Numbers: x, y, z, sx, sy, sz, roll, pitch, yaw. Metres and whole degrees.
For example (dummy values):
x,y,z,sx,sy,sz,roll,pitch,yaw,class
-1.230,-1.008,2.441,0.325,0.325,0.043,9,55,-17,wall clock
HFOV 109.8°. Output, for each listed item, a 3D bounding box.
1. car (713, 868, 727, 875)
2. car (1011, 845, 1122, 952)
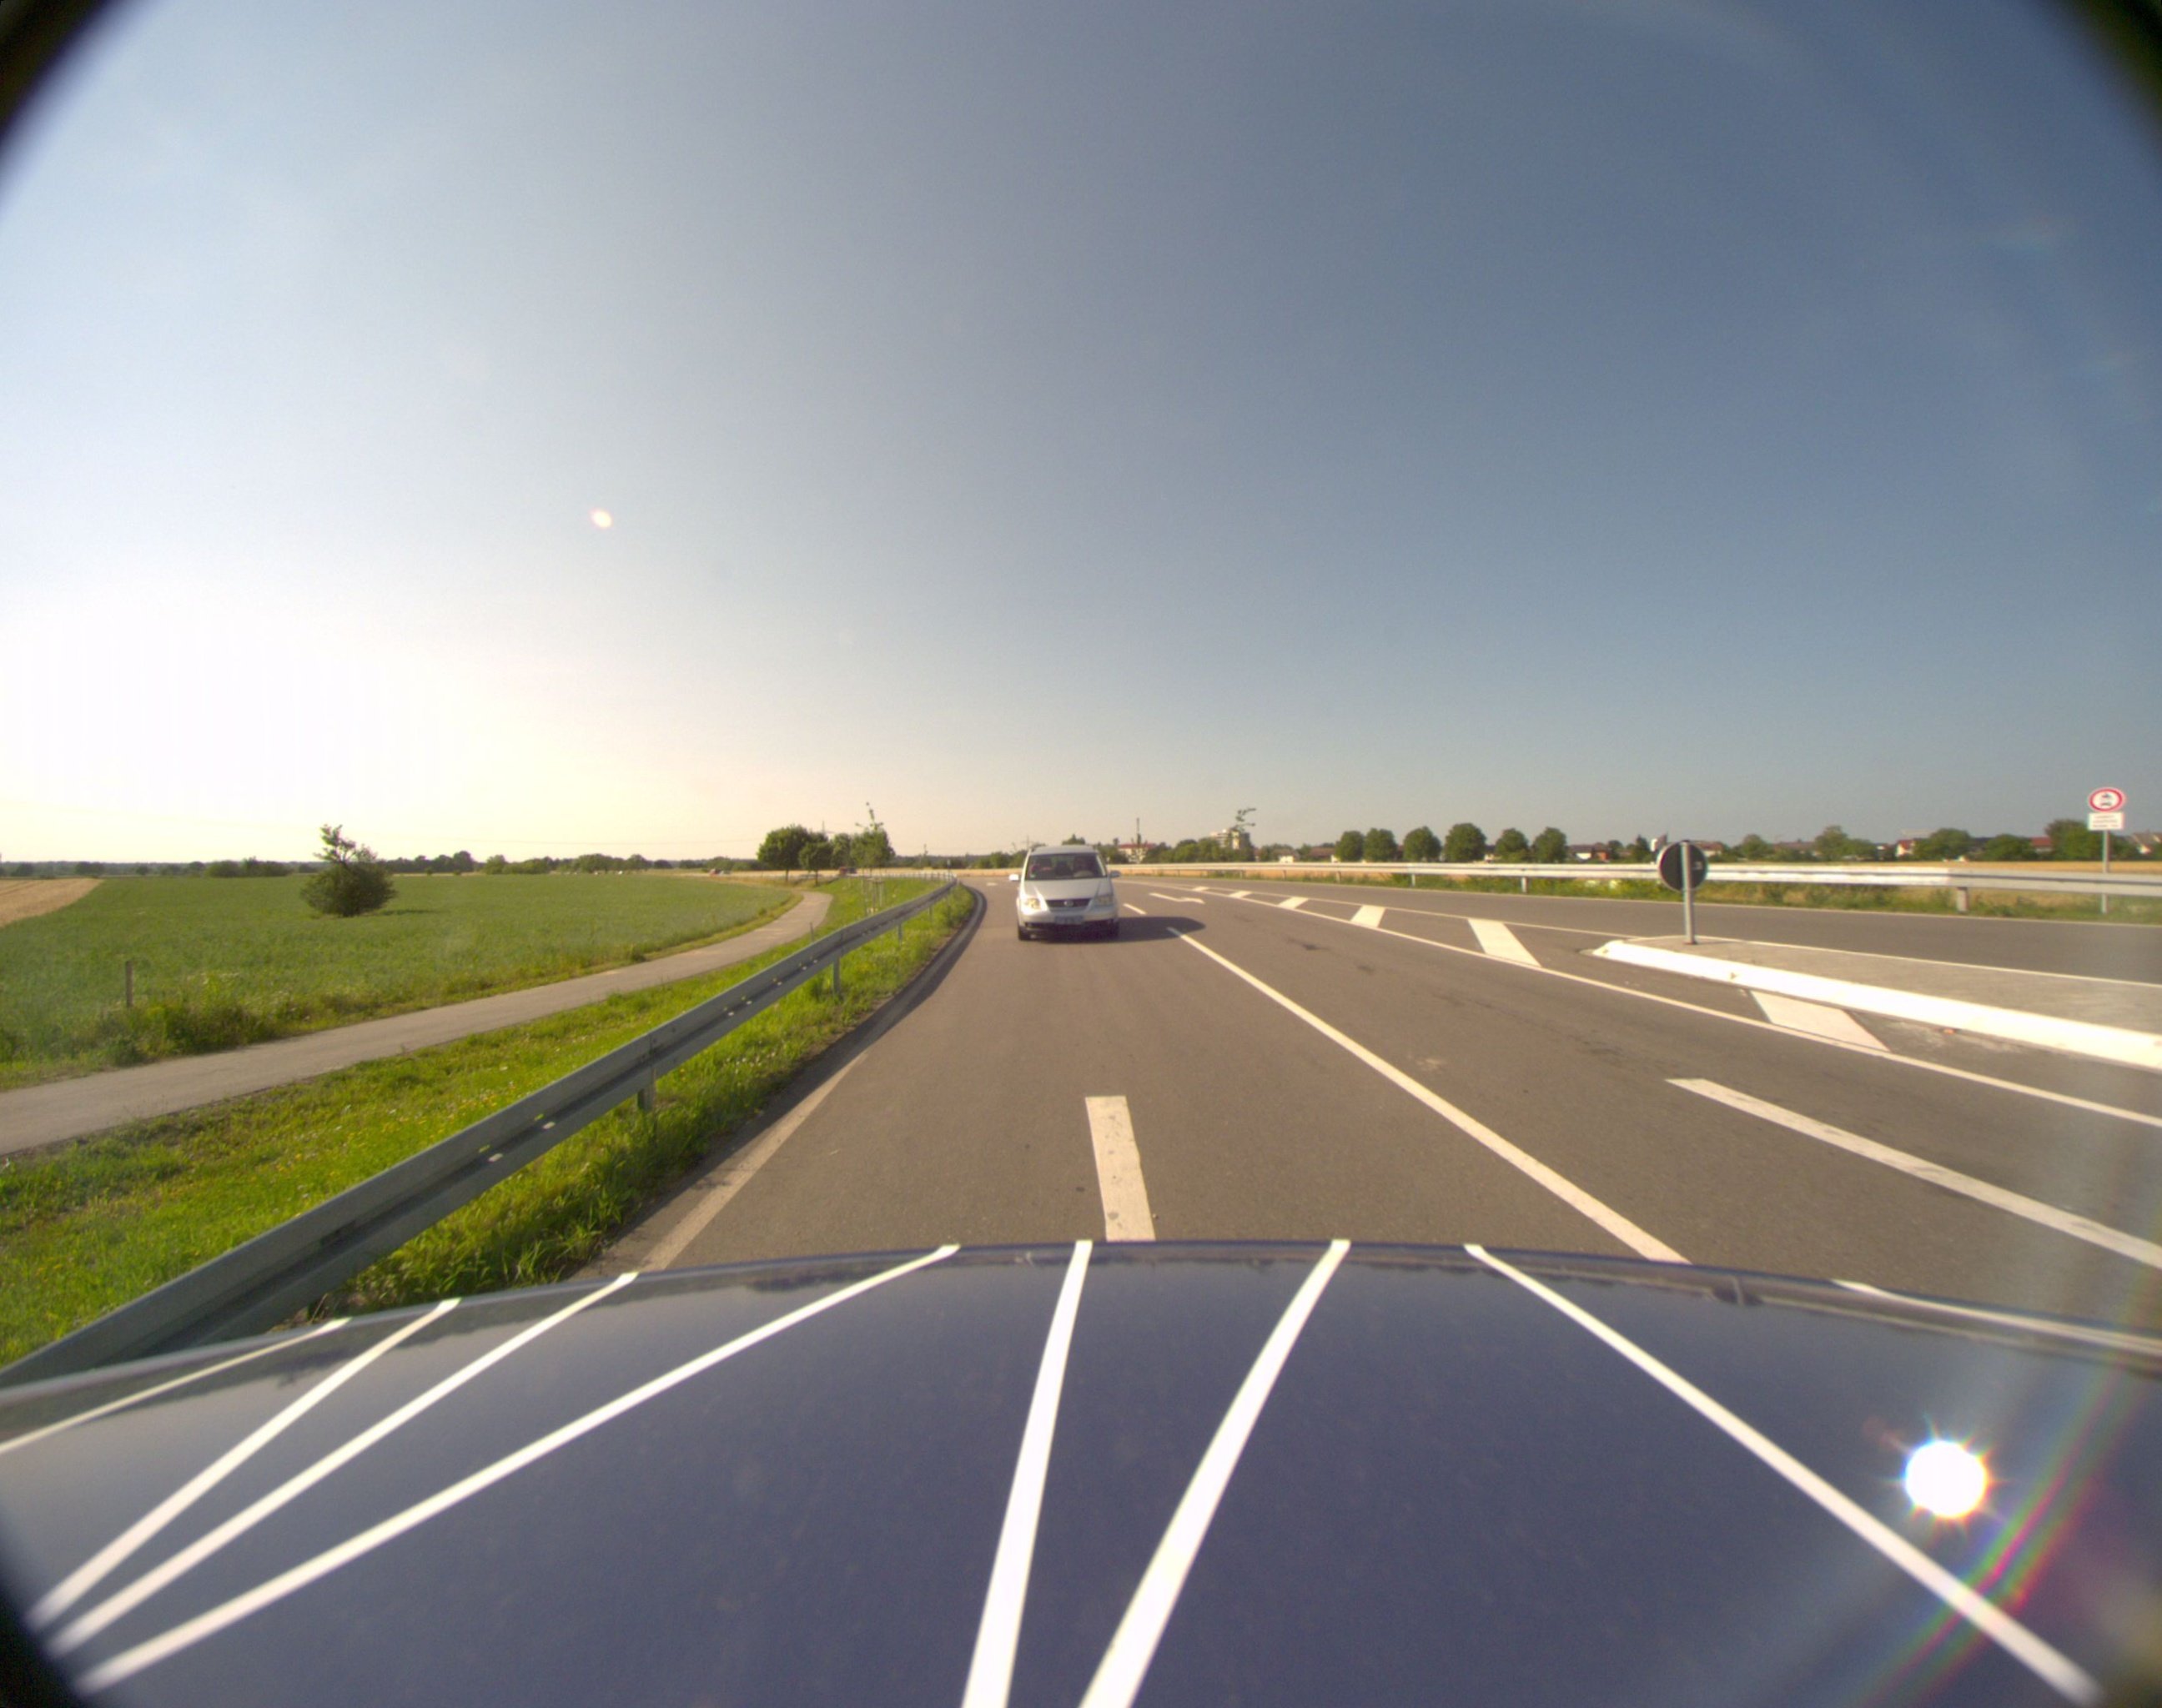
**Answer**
x,y,z,sx,sy,sz,roll,pitch,yaw,class
-88.414,4.257,186.071,1.818,1.663,3.989,-3,1,-43,car
-0.321,0.708,14.455,1.755,1.685,4.213,-2,1,-2,car
